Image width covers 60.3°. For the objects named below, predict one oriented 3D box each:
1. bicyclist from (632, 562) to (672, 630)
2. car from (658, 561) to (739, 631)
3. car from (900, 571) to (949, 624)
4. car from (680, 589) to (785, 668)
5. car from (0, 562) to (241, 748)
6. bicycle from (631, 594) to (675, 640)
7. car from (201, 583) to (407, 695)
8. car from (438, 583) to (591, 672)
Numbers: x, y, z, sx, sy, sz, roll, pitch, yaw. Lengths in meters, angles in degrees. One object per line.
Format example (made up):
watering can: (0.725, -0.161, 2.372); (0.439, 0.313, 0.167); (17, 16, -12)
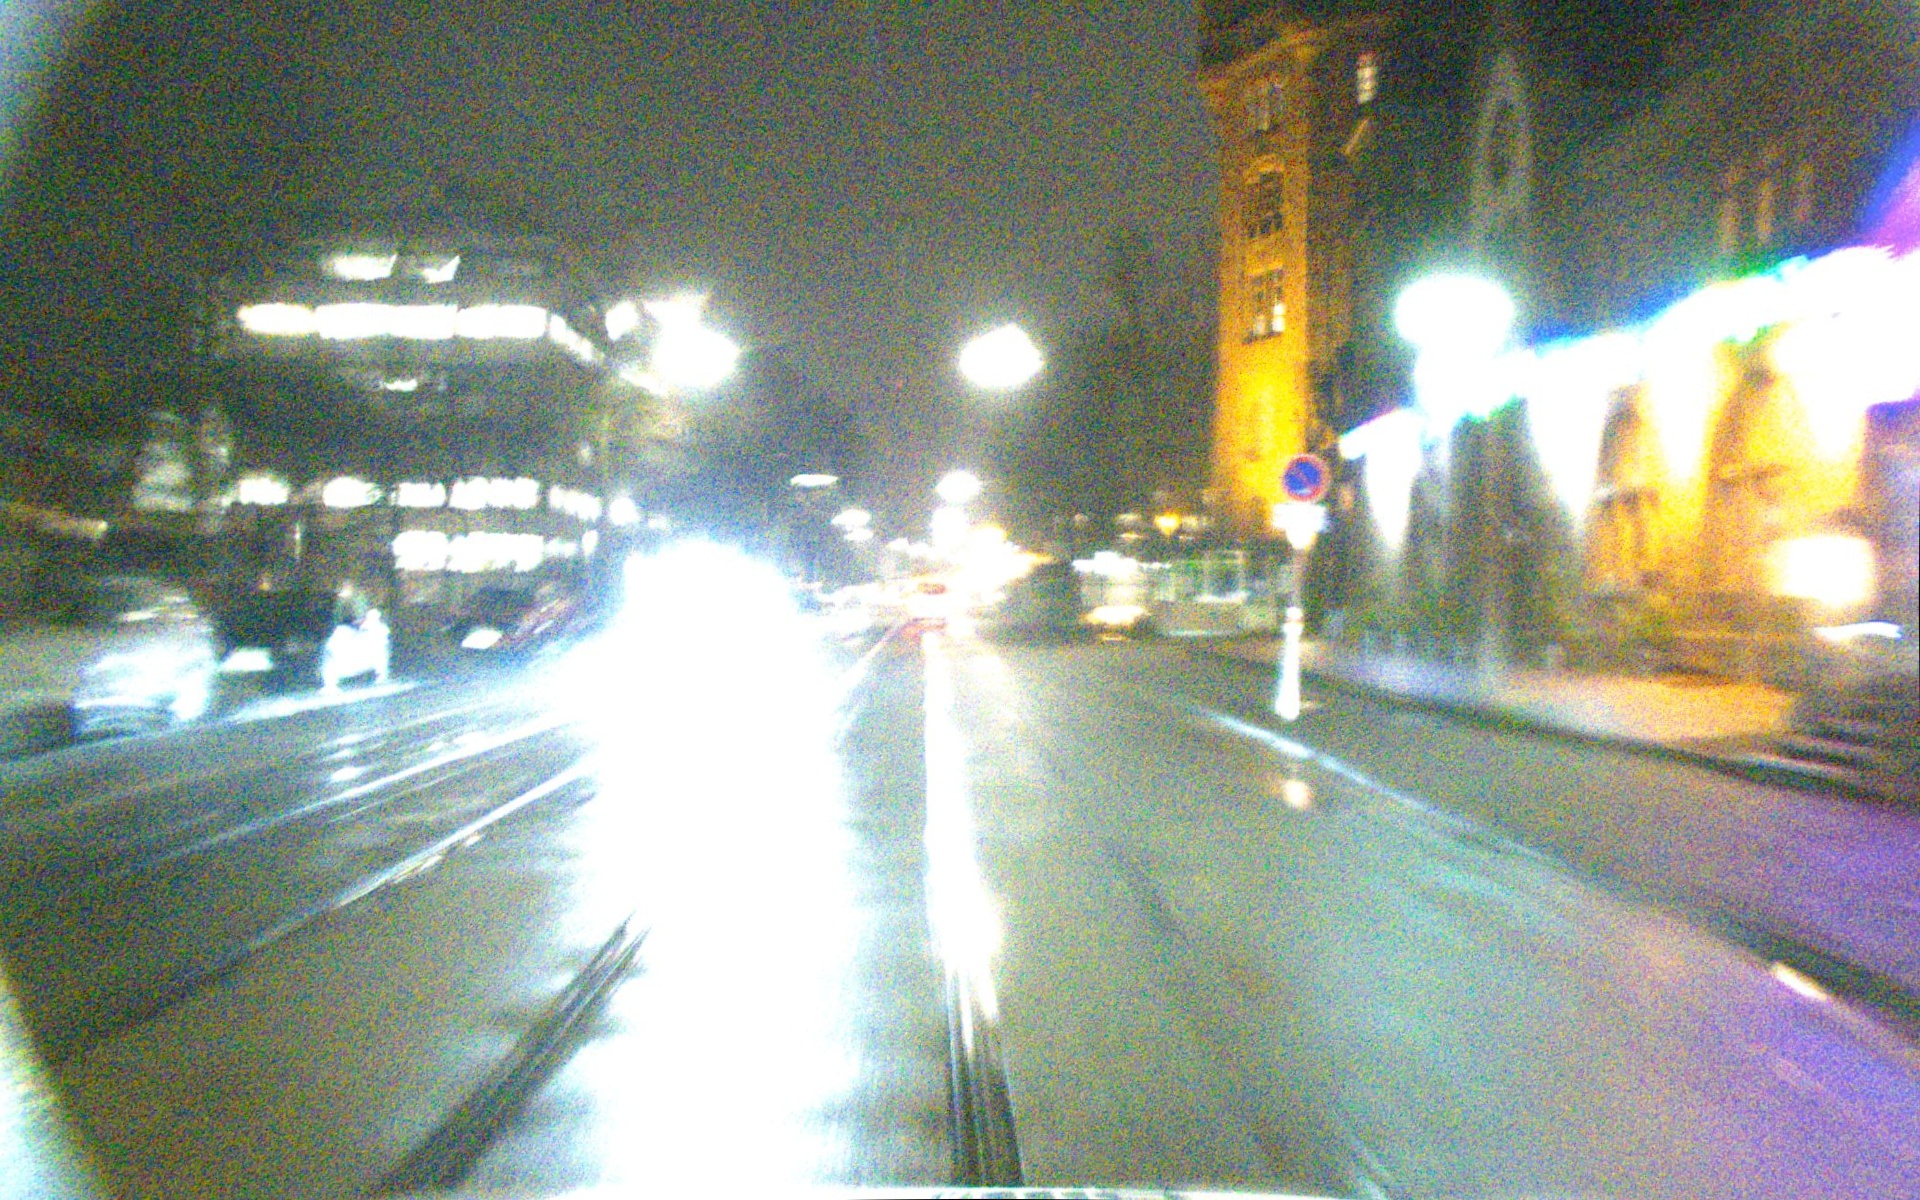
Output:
bicyclist: (-7.805, -0.106, 41.993); (0.766, 1.684, 1.206); (-2, 0, -1)
car: (-10.450, -0.214, 66.506); (2.140, 2.637, 6.393); (0, 1, 1)
car: (-1.709, -0.133, 78.156); (2.199, 2.402, 4.391); (0, 0, -3)
car: (-4.807, 0.561, 35.385); (1.740, 1.544, 4.050); (0, 1, -1)
car: (-9.294, 0.476, 16.958); (1.943, 1.659, 4.516); (0, 0, -2)
bicycle: (-7.789, 0.414, 41.990); (0.766, 1.101, 1.918); (-2, 0, -1)
car: (-9.343, 0.499, 23.882); (1.657, 1.446, 3.911); (0, 1, -4)
car: (-9.322, 0.540, 35.037); (1.929, 1.684, 4.601); (2, 0, 0)
